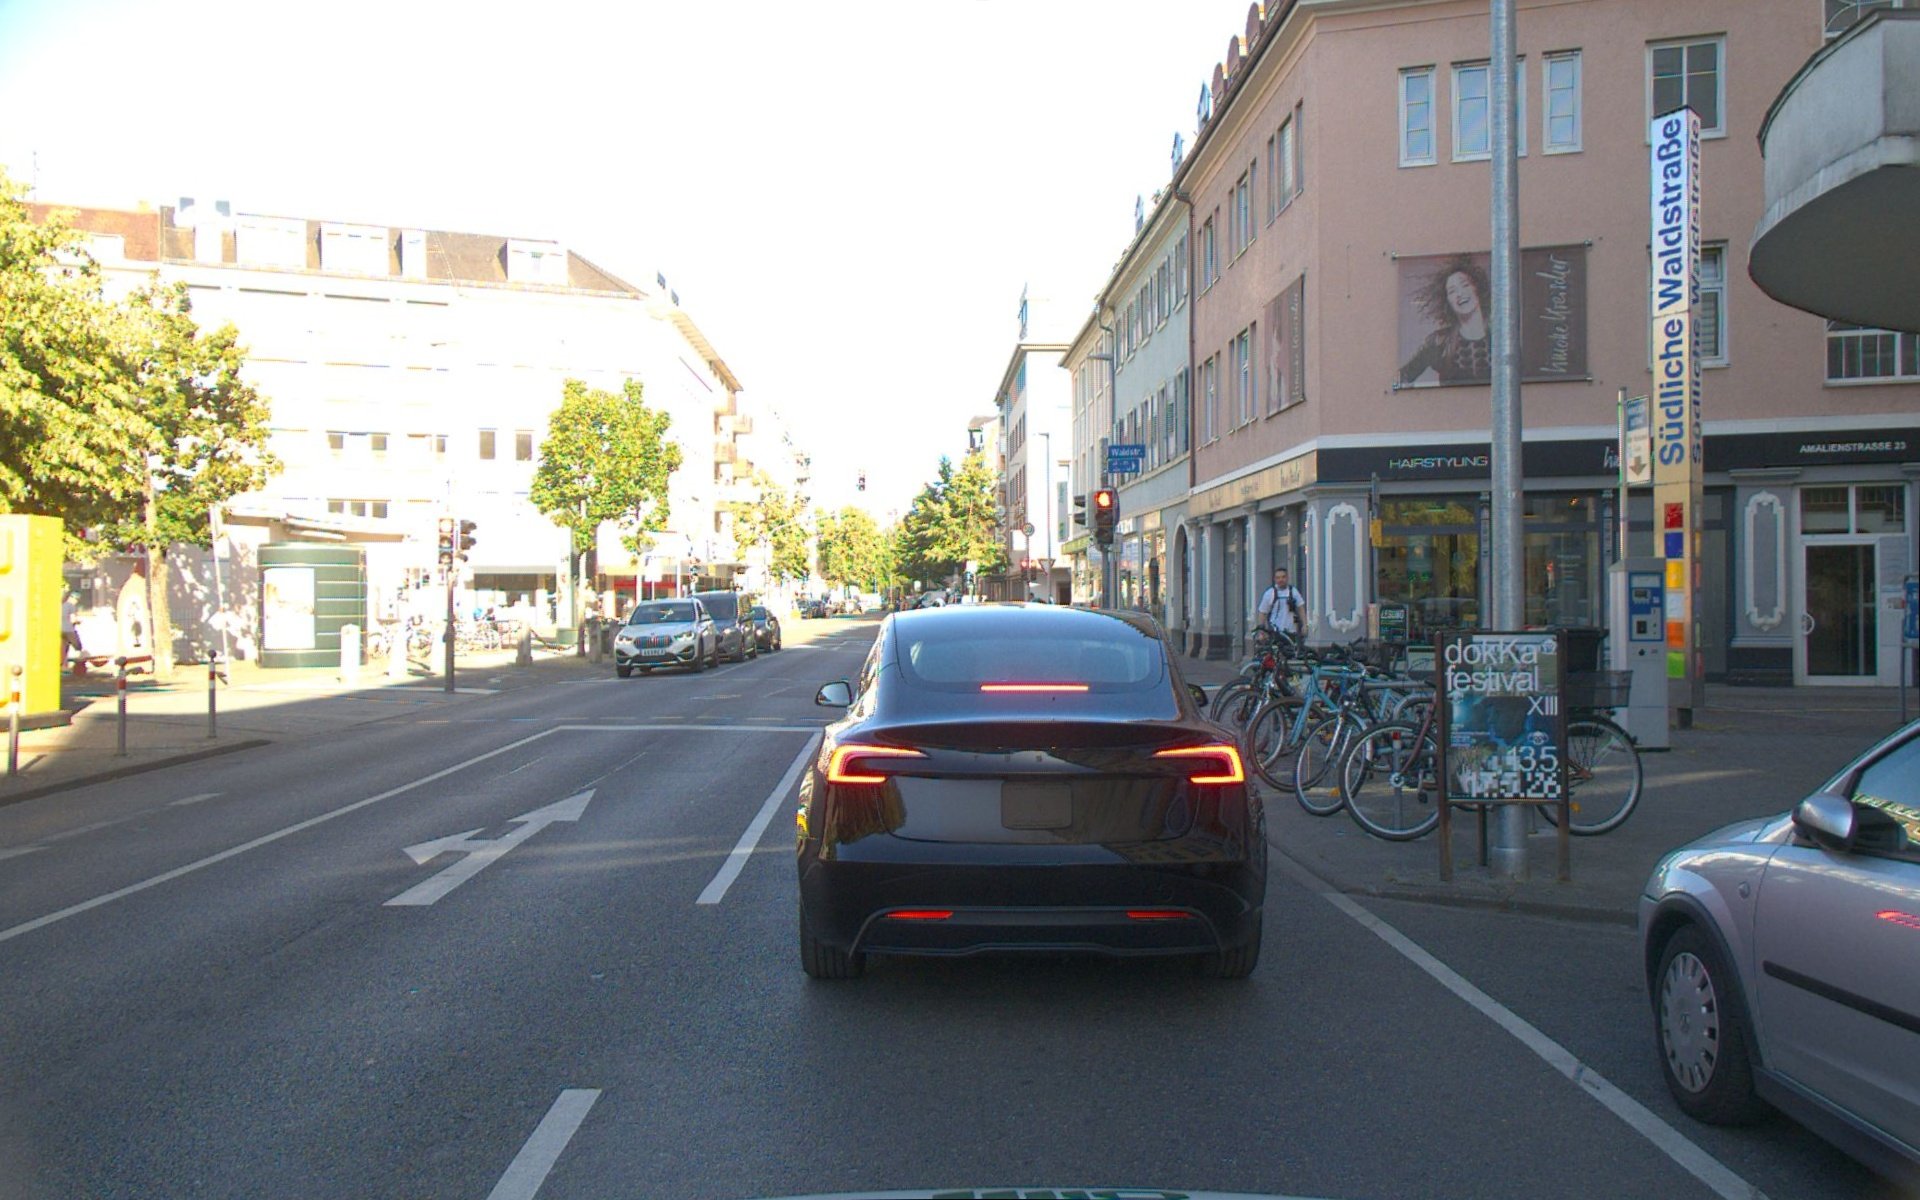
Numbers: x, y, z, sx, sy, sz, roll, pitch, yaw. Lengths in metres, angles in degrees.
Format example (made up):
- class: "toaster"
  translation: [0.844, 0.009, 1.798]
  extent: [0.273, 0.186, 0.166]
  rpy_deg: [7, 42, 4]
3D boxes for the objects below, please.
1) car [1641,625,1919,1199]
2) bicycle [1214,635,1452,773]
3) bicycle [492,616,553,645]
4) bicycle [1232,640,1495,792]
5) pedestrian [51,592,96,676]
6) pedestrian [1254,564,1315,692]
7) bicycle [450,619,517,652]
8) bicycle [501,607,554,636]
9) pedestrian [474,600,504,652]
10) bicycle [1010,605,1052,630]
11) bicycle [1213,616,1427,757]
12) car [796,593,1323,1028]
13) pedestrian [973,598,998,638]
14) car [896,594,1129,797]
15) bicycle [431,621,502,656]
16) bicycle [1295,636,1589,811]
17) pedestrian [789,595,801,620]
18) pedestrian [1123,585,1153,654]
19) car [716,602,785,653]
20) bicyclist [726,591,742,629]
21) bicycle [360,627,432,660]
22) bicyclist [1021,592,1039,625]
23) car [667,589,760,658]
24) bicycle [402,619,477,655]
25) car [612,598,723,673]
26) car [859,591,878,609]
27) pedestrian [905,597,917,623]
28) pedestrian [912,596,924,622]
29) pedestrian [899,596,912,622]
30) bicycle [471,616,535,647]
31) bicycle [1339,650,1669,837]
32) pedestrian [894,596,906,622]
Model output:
- class: "car"
  translation: [2.914, 0.784, 3.506]
  extent: [1.515, 1.415, 3.476]
  rpy_deg: [0, 0, 0]
- class: "bicycle"
  translation: [3.058, 0.850, 13.683]
  extent: [1.833, 1.056, 0.548]
  rpy_deg: [-2, -1, 5]
- class: "bicycle"
  translation: [-14.364, 0.994, 54.348]
  extent: [1.826, 0.950, 0.606]
  rpy_deg: [0, 0, -2]
- class: "bicycle"
  translation: [3.024, 0.864, 12.491]
  extent: [1.834, 1.056, 0.533]
  rpy_deg: [-2, -1, 3]
- class: "pedestrian"
  translation: [-18.729, 0.704, 34.942]
  extent: [0.465, 1.746, 0.711]
  rpy_deg: [1, -1, 8]
- class: "pedestrian"
  translation: [4.646, 0.396, 23.716]
  extent: [0.735, 1.796, 0.837]
  rpy_deg: [1, -1, 3]
- class: "bicycle"
  translation: [-14.279, 1.062, 49.594]
  extent: [1.826, 0.950, 0.606]
  rpy_deg: [1, 0, -2]
- class: "bicycle"
  translation: [-20.295, 1.024, 77.591]
  extent: [2.334, 1.318, 0.509]
  rpy_deg: [1, -1, -27]
- class: "pedestrian"
  translation: [-18.857, 1.046, 66.173]
  extent: [1.041, 2.049, 1.049]
  rpy_deg: [1, -1, -20]
- class: "bicycle"
  translation: [3.074, 0.753, 71.241]
  extent: [1.756, 1.024, 0.469]
  rpy_deg: [1, -1, -17]
- class: "bicycle"
  translation: [3.201, 0.767, 14.805]
  extent: [1.789, 1.189, 0.506]
  rpy_deg: [-2, -1, 5]
- class: "car"
  translation: [0.312, 0.722, 7.611]
  extent: [1.785, 1.467, 3.999]
  rpy_deg: [0, 0, -1]
- class: "pedestrian"
  translation: [1.047, 0.745, 68.543]
  extent: [0.742, 1.660, 0.951]
  rpy_deg: [1, -1, -18]
- class: "car"
  translation: [0.311, 0.686, 13.866]
  extent: [1.683, 1.450, 3.755]
  rpy_deg: [0, 0, -2]
- class: "bicycle"
  translation: [-14.042, 1.086, 47.124]
  extent: [1.826, 0.950, 0.606]
  rpy_deg: [1, 0, -2]
- class: "bicycle"
  translation: [3.243, 0.828, 11.212]
  extent: [1.834, 1.106, 0.414]
  rpy_deg: [-2, -1, 3]
- class: "pedestrian"
  translation: [-11.353, 0.525, 113.722]
  extent: [0.831, 1.725, 0.717]
  rpy_deg: [0, 0, -4]
- class: "pedestrian"
  translation: [4.612, 0.512, 42.834]
  extent: [0.692, 1.773, 0.540]
  rpy_deg: [0, 0, -1]
- class: "car"
  translation: [-6.438, 0.819, 51.081]
  extent: [1.680, 1.471, 3.844]
  rpy_deg: [1, 0, -1]
- class: "bicyclist"
  translation: [-9.220, 0.413, 67.484]
  extent: [0.516, 1.530, 0.472]
  rpy_deg: [1, -1, -25]
- class: "bicycle"
  translation: [-14.451, 1.110, 42.412]
  extent: [1.612, 0.806, 0.606]
  rpy_deg: [1, 0, -5]
- class: "bicyclist"
  translation: [3.003, 0.371, 71.217]
  extent: [0.659, 1.420, 0.460]
  rpy_deg: [1, -1, -17]
- class: "car"
  translation: [-6.217, 0.562, 42.098]
  extent: [1.751, 1.675, 4.401]
  rpy_deg: [0, 0, -1]
- class: "bicycle"
  translation: [-14.143, 0.999, 44.996]
  extent: [1.826, 0.950, 0.606]
  rpy_deg: [1, 0, -2]
- class: "car"
  translation: [-6.316, 0.743, 36.082]
  extent: [1.752, 1.485, 3.756]
  rpy_deg: [-2, 0, -1]
- class: "car"
  translation: [-10.370, 0.013, 187.023]
  extent: [1.953, 2.049, 3.999]
  rpy_deg: [0, 0, -1]
- class: "pedestrian"
  translation: [-2.788, 0.570, 94.132]
  extent: [0.516, 1.447, 0.474]
  rpy_deg: [1, -1, -31]
- class: "pedestrian"
  translation: [-2.378, 0.524, 93.583]
  extent: [0.516, 1.447, 0.474]
  rpy_deg: [1, -1, -31]
- class: "pedestrian"
  translation: [-3.074, 0.483, 93.114]
  extent: [0.516, 1.447, 0.474]
  rpy_deg: [1, -1, -31]
- class: "bicycle"
  translation: [-14.329, 0.985, 51.900]
  extent: [1.826, 0.950, 0.606]
  rpy_deg: [0, 0, -2]
- class: "bicycle"
  translation: [3.265, 0.865, 10.019]
  extent: [1.833, 1.056, 0.353]
  rpy_deg: [-2, -1, 6]
- class: "pedestrian"
  translation: [-3.386, 0.506, 93.757]
  extent: [0.467, 1.442, 0.516]
  rpy_deg: [1, -1, -32]
